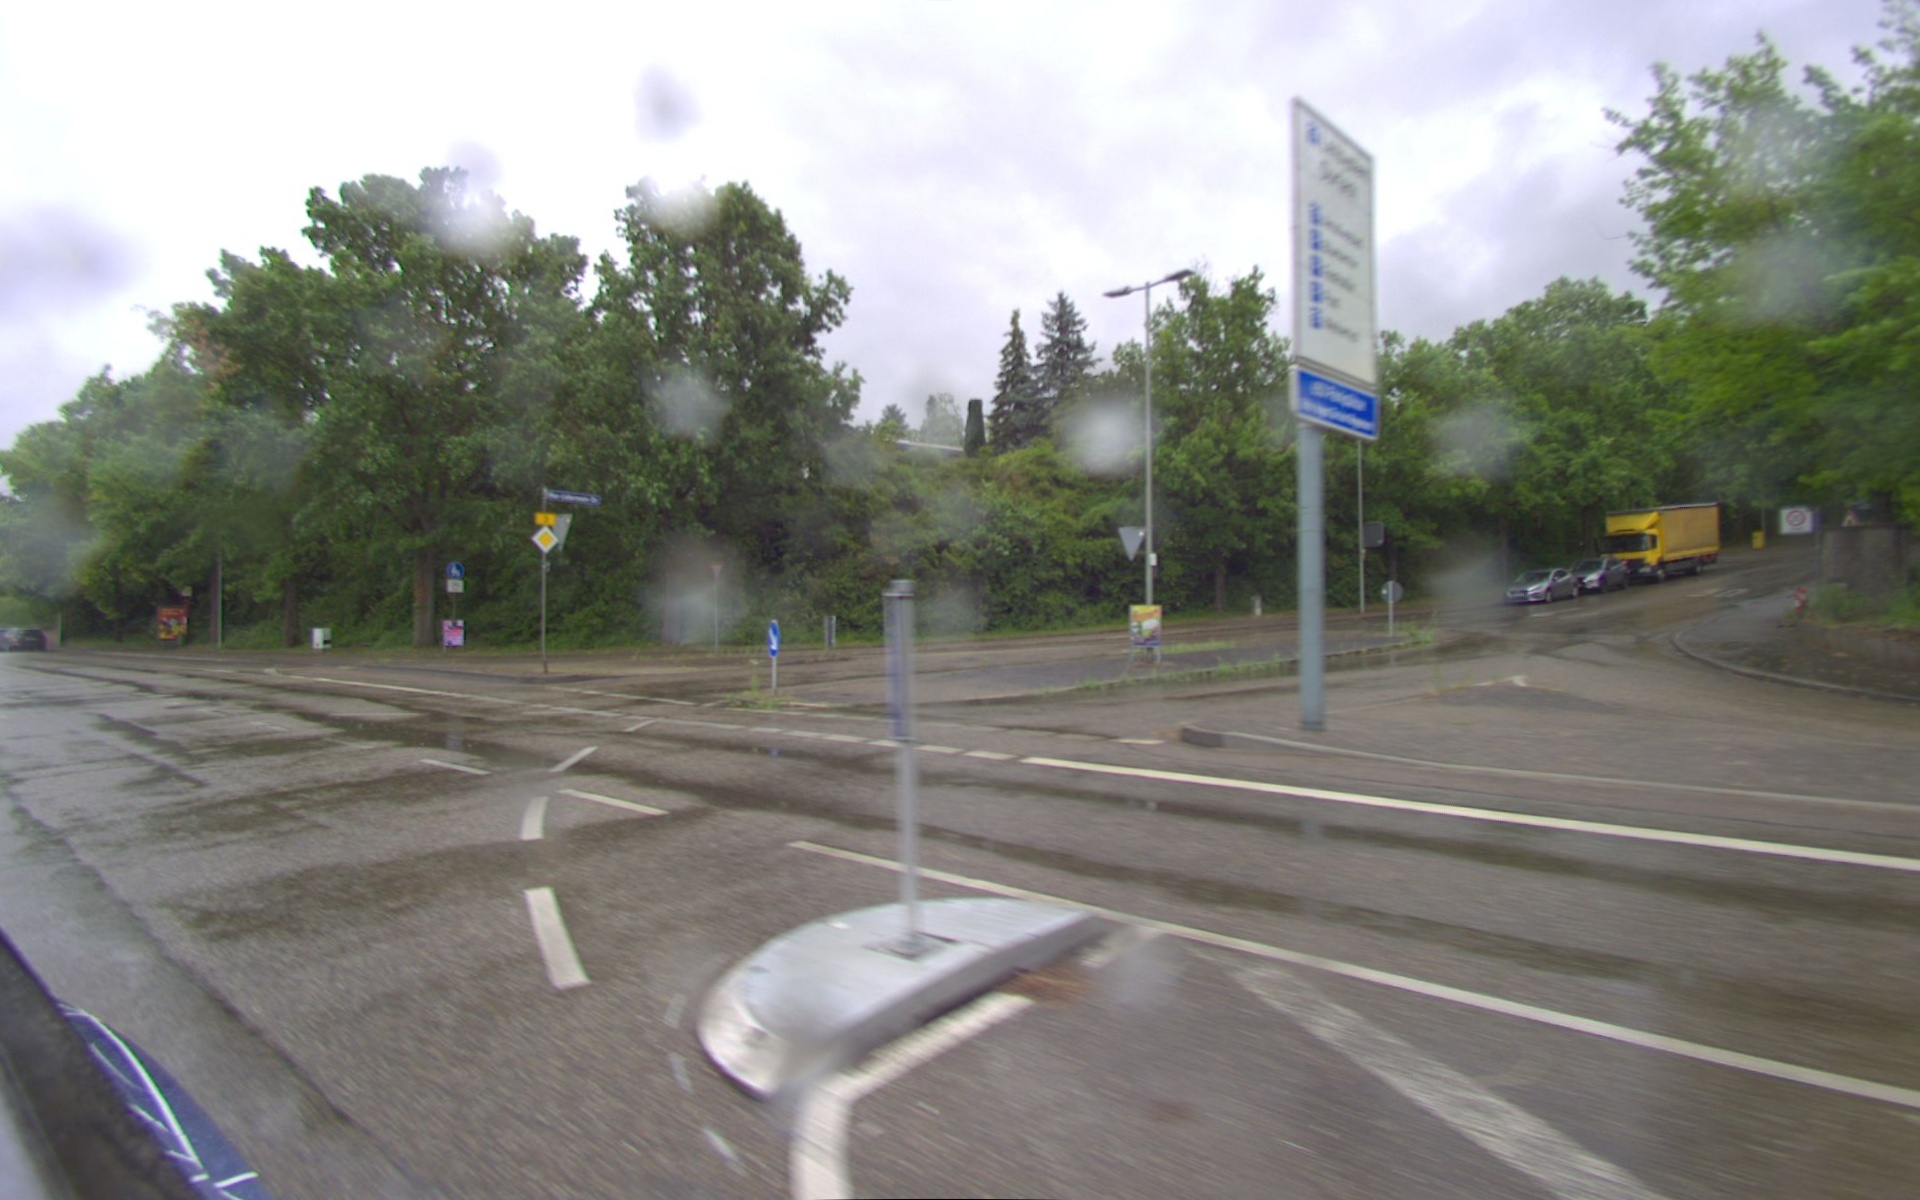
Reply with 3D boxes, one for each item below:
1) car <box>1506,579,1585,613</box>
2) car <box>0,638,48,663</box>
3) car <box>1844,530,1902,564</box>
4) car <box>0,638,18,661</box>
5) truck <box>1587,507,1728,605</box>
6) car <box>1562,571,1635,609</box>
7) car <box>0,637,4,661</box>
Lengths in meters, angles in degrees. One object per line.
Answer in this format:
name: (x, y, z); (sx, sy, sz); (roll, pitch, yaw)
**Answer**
car: (25.811, -0.175, 44.581); (3.818, 1.411, 1.482); (-1, -1, -35)
car: (-56.900, 3.039, 61.270); (4.733, 1.430, 1.671); (-2, -2, 37)
car: (52.796, -3.061, 58.527); (3.936, 1.775, 1.804); (-4, 1, -38)
car: (-61.227, 3.148, 64.108); (4.093, 1.430, 1.421); (-2, -2, 35)
truck: (36.982, -2.317, 53.435); (10.518, 4.689, 2.823); (-2, 0, -37)
car: (30.335, -0.493, 48.053); (3.818, 1.664, 1.482); (-2, 0, -35)
car: (-64.286, 3.233, 66.476); (2.809, 1.549, 1.423); (-2, -2, 31)
